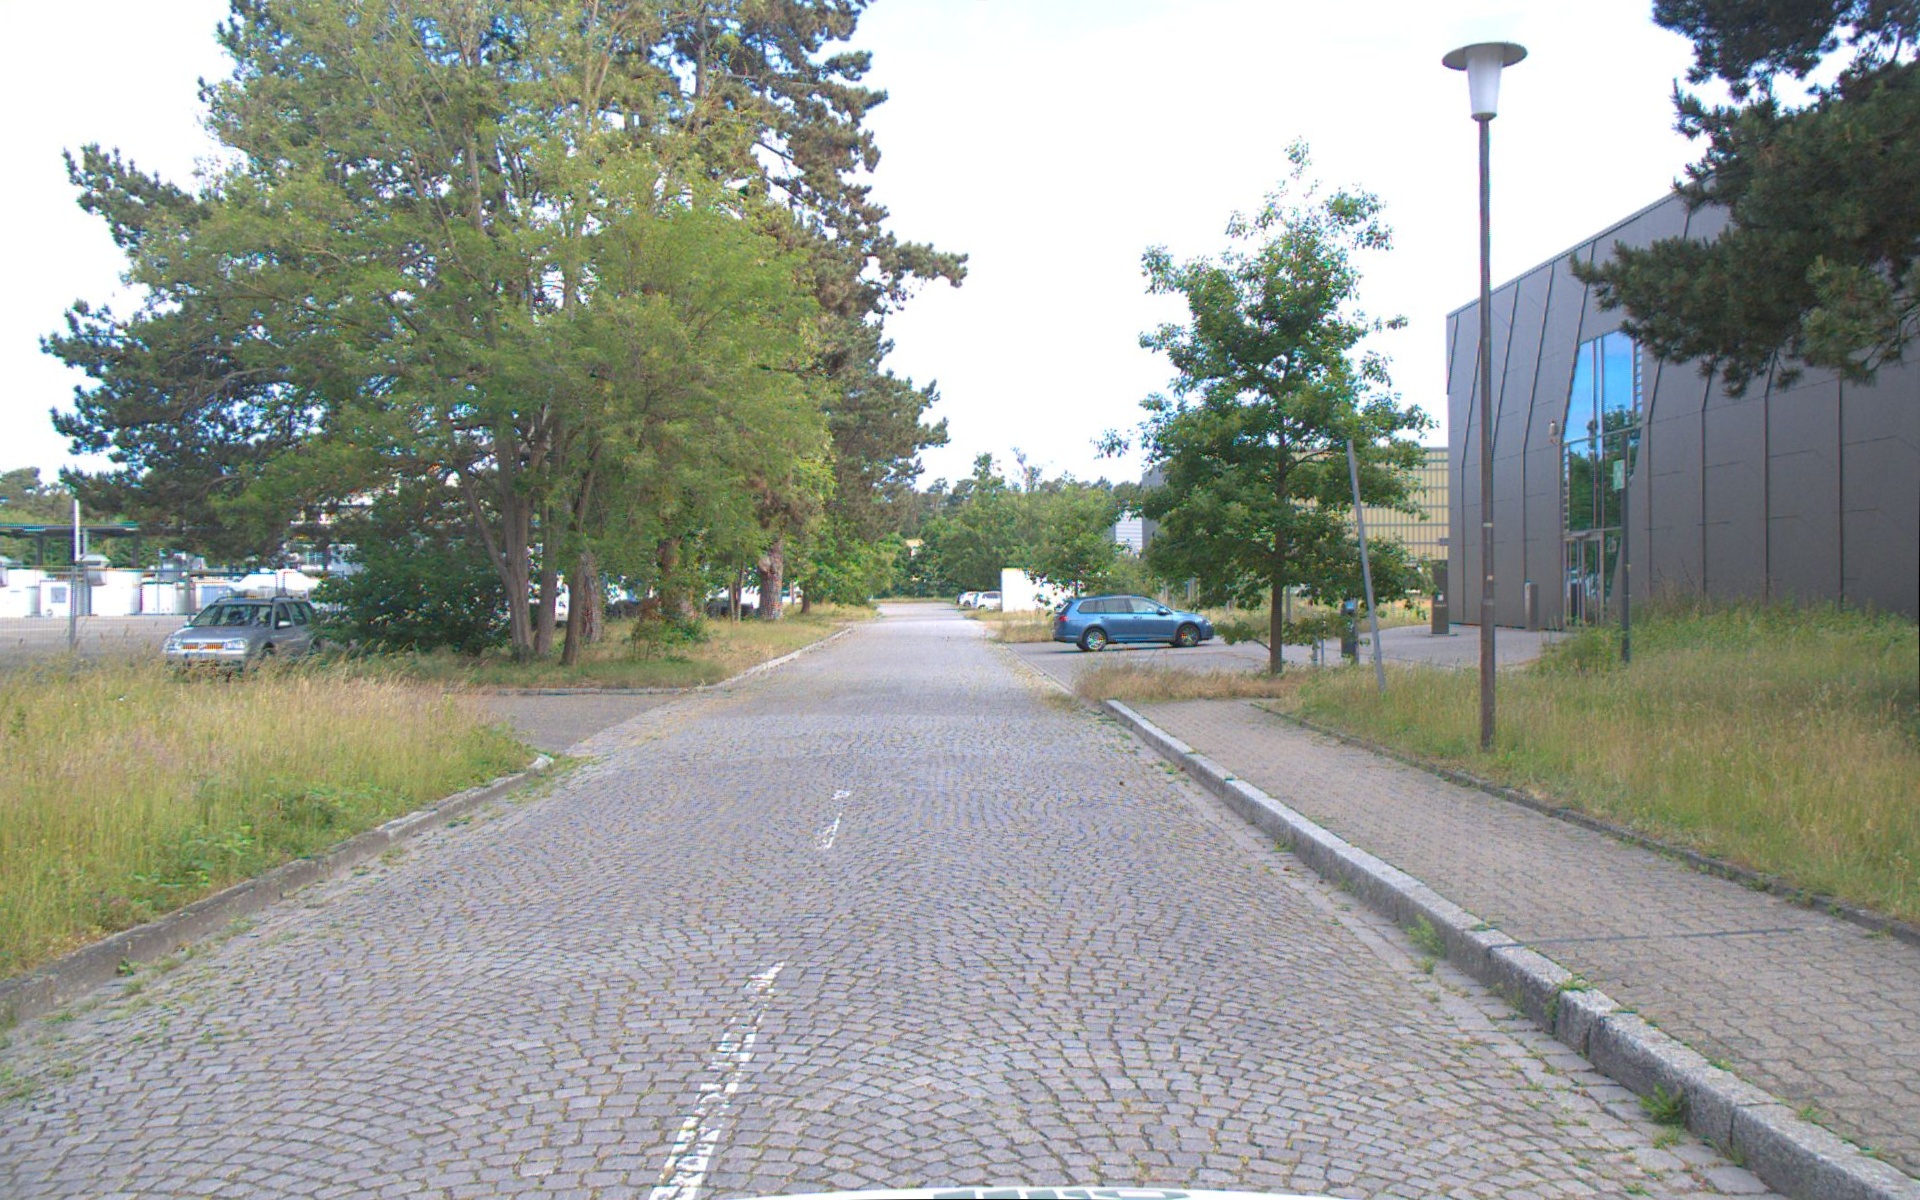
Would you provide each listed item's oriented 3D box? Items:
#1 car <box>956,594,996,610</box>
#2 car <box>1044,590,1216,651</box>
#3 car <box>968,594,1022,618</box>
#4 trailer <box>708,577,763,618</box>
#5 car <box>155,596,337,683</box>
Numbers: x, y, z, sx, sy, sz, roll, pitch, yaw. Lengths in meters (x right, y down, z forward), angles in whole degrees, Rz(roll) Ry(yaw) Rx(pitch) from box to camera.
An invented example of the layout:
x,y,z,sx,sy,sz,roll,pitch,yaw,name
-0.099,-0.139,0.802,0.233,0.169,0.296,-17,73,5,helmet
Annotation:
x,y,z,sx,sy,sz,roll,pitch,yaw,name
1.609,0.210,165.320,3.943,1.528,1.548,0,0,-1,car
4.657,0.555,45.688,4.434,1.468,1.822,-2,0,-5,car
2.489,0.411,119.186,3.773,1.683,1.685,0,0,-4,car
-17.735,-0.185,131.291,3.094,3.121,8.784,0,0,1,trailer
-13.132,0.671,30.706,1.681,1.463,4.464,0,0,-4,car
